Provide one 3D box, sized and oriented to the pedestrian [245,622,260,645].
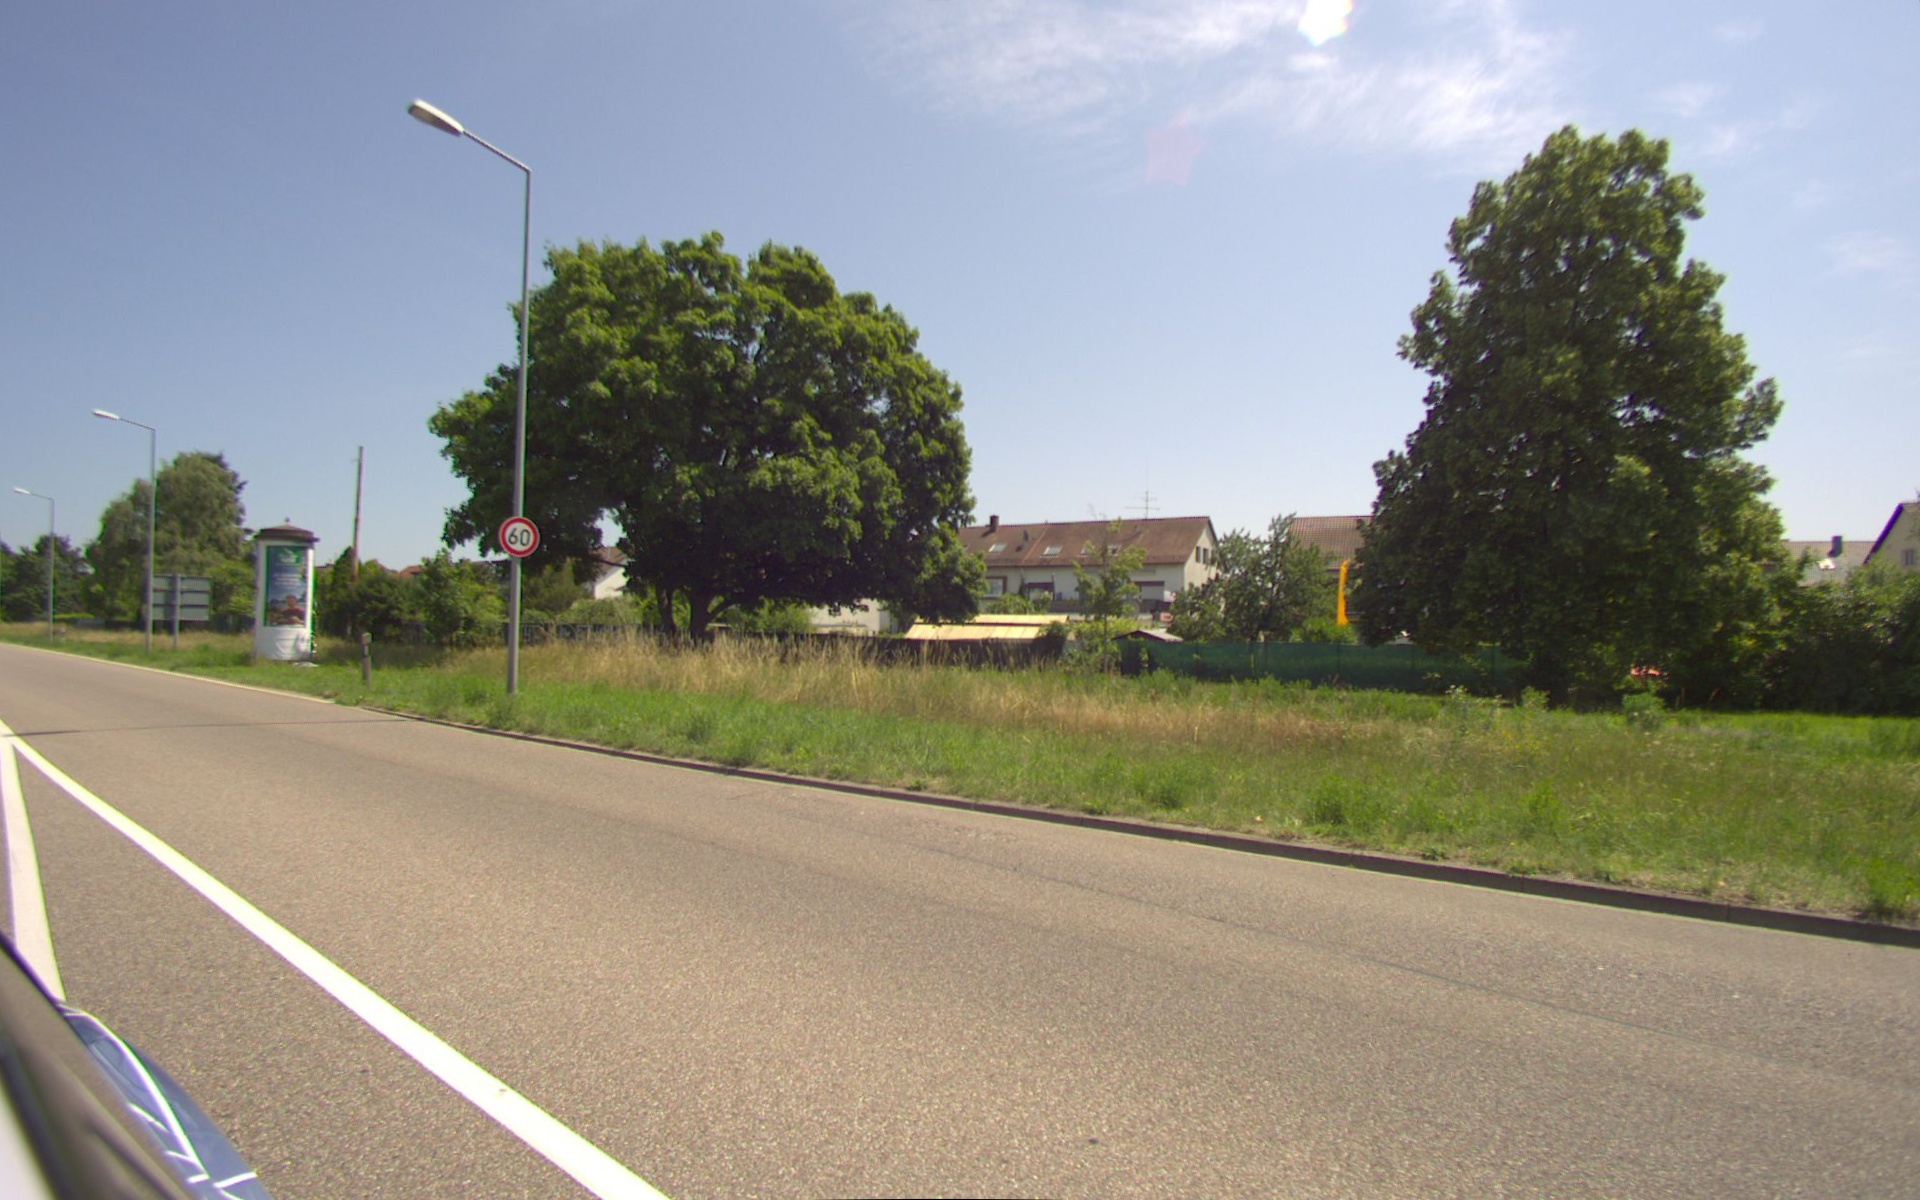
[{"bbox_3d":[-43.035,2.027,61.571,0.799,1.365,0.574,-1,-2,44],"label":"pedestrian"}]
